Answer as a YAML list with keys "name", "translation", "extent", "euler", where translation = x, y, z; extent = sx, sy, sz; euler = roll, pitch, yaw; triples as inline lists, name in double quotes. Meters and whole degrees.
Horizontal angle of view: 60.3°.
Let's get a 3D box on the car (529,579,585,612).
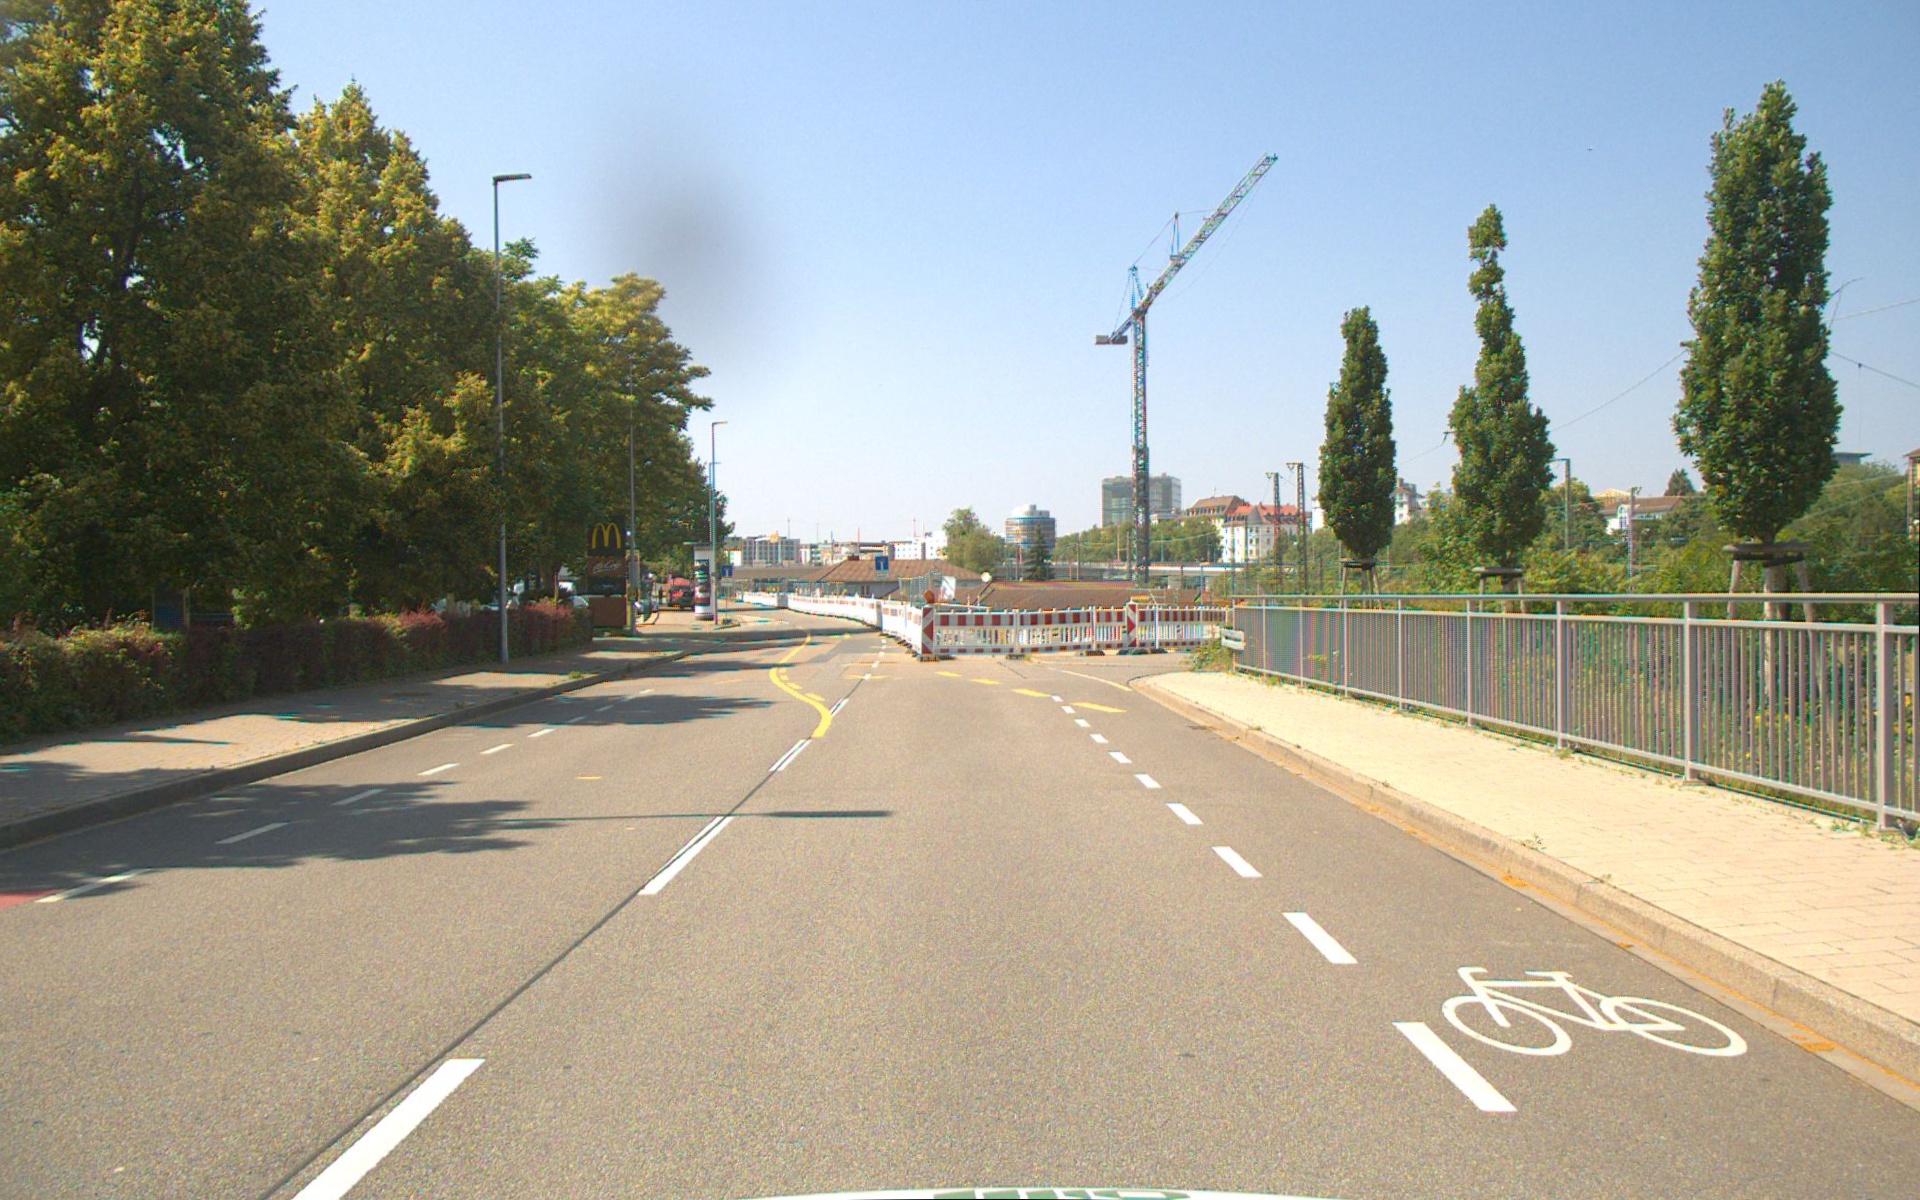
- name: "car"
  translation: [-25.108, -0.282, 103.048]
  extent: [1.812, 1.963, 3.940]
  euler: [-1, 0, -41]
